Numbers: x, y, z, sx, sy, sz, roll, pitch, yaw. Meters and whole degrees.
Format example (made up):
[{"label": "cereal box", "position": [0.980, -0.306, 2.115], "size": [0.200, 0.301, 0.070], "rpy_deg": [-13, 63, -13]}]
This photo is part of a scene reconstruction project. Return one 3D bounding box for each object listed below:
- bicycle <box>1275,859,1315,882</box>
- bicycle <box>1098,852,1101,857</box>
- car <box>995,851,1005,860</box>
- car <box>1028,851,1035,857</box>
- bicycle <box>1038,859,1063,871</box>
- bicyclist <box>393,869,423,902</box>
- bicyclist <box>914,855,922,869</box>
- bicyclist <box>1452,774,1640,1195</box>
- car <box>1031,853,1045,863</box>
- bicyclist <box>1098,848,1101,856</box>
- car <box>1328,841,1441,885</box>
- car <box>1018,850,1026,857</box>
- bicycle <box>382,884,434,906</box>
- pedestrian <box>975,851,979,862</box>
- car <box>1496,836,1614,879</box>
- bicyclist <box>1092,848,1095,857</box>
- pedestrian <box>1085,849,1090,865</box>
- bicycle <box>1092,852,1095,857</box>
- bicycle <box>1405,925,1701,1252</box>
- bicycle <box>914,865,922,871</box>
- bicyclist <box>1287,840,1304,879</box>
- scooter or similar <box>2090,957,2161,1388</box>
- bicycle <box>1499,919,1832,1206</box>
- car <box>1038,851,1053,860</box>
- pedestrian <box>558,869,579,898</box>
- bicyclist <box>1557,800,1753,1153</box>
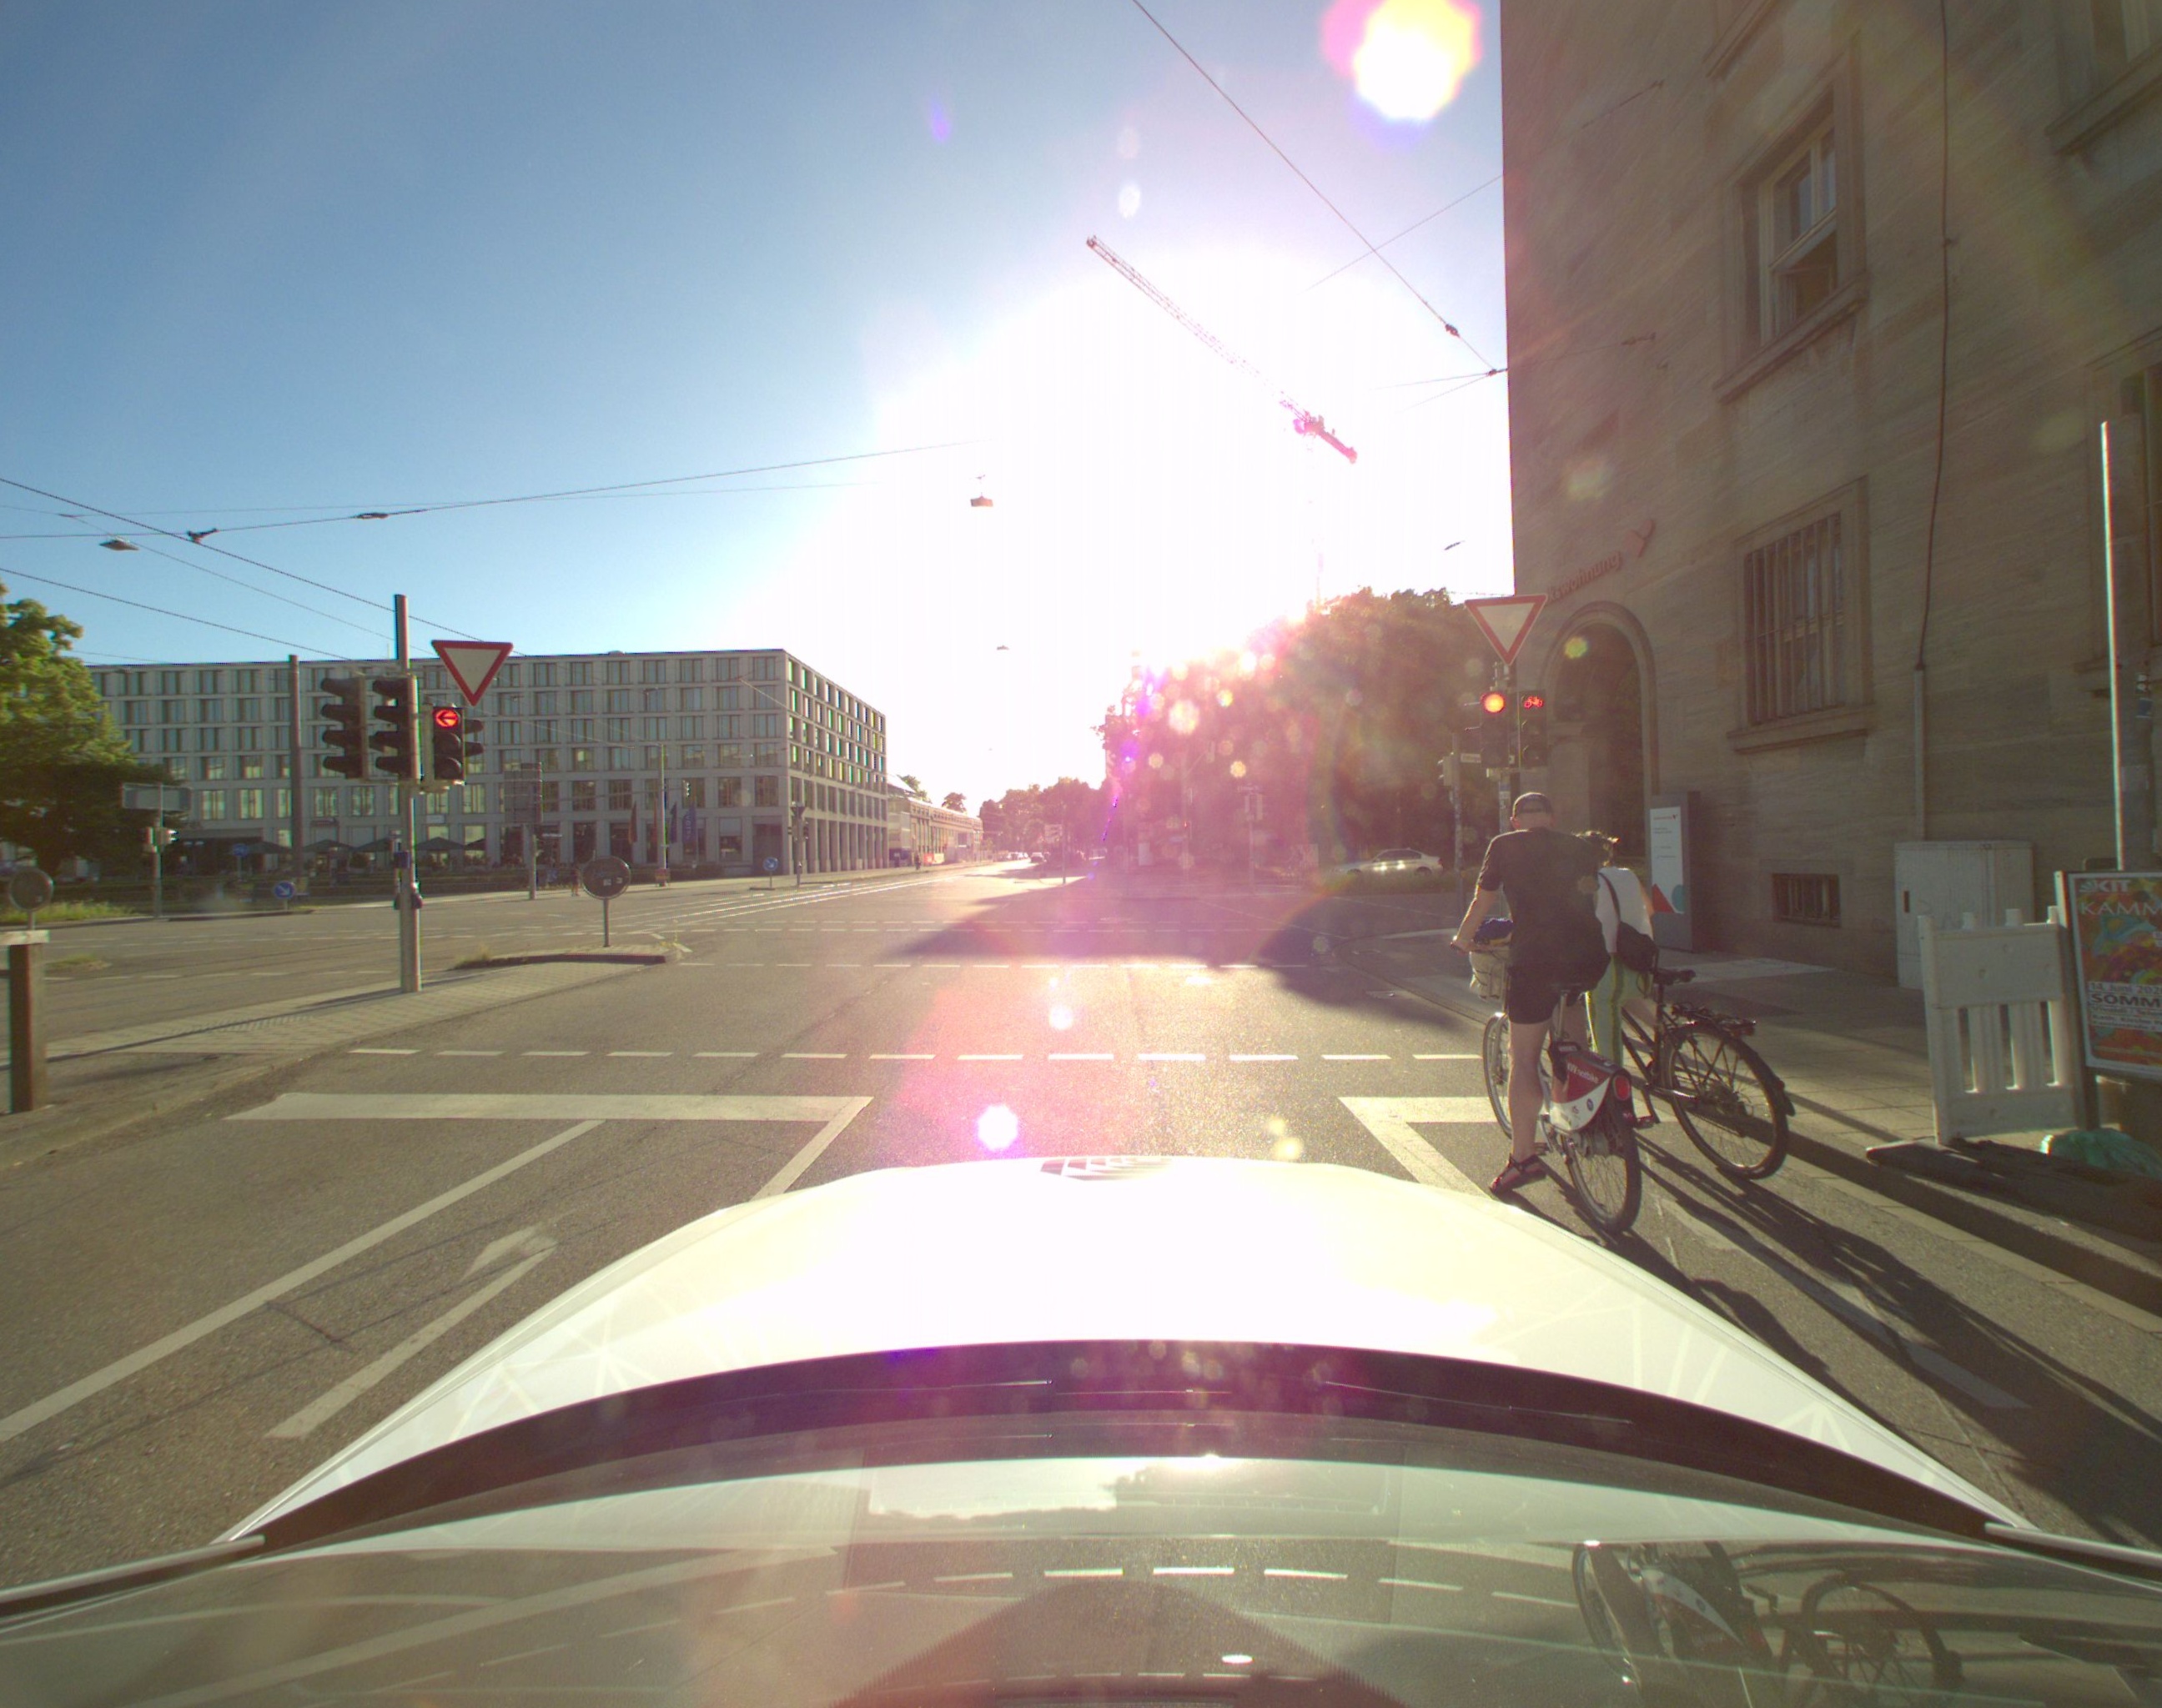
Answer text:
[{"label": "bicycle", "position": [9.514, 0.749, 36.218], "size": [1.657, 0.963, 0.535], "rpy_deg": [-2, 0, 7]}, {"label": "bicycle", "position": [3.792, 0.090, 163.323], "size": [0.573, 1.077, 1.831], "rpy_deg": [-2, 0, 1]}, {"label": "car", "position": [-15.652, 0.271, 157.067], "size": [1.688, 1.718, 4.245], "rpy_deg": [0, -1, -1]}, {"label": "car", "position": [-13.050, -0.009, 215.945], "size": [1.688, 1.718, 4.245], "rpy_deg": [0, -1, -1]}, {"label": "bicycle", "position": [-2.567, 0.908, 67.697], "size": [1.996, 0.891, 0.655], "rpy_deg": [-4, -1, 29]}, {"label": "bicyclist", "position": [-32.597, 1.520, 39.444], "size": [0.754, 1.589, 0.780], "rpy_deg": [-2, 0, 13]}, {"label": "bicyclist", "position": [-15.830, 0.770, 78.958], "size": [0.594, 1.377, 0.637], "rpy_deg": [0, -1, 0]}, {"label": "bicyclist", "position": [2.119, 0.560, 3.772], "size": [0.556, 1.799, 0.551], "rpy_deg": [-1, 0, 3]}, {"label": "car", "position": [-6.196, 0.535, 118.275], "size": [1.654, 1.455, 4.433], "rpy_deg": [-1, 0, 1]}, {"label": "bicyclist", "position": [3.774, -0.356, 163.316], "size": [0.567, 1.691, 0.700], "rpy_deg": [-2, 0, 1]}, {"label": "car", "position": [12.346, 0.352, 33.247], "size": [3.979, 1.611, 1.650], "rpy_deg": [-2, 0, 1]}, {"label": "car", "position": [-14.218, -0.110, 195.317], "size": [1.688, 1.718, 4.245], "rpy_deg": [0, -1, -1]}, {"label": "bicycle", "position": [-32.576, 1.990, 39.445], "size": [0.755, 0.935, 1.869], "rpy_deg": [-2, 0, 11]}, {"label": "pedestrian", "position": [-18.648, 0.402, 146.061], "size": [0.672, 2.014, 0.751], "rpy_deg": [0, -1, -1]}, {"label": "car", "position": [19.219, 0.142, 33.125], "size": [3.835, 1.611, 1.650], "rpy_deg": [-2, 0, 1]}, {"label": "bicyclist", "position": [2.453, -0.298, 162.867], "size": [0.567, 1.691, 0.700], "rpy_deg": [-2, 0, 1]}, {"label": "pedestrian", "position": [0.755, 0.365, 97.895], "size": [0.462, 1.813, 0.502], "rpy_deg": [-2, 0, -3]}, {"label": "bicycle", "position": [2.467, 0.099, 162.978], "size": [0.573, 1.077, 1.831], "rpy_deg": [-2, 0, 1]}, {"label": "bicycle", "position": [2.117, 0.956, 3.929], "size": [0.513, 1.077, 1.729], "rpy_deg": [-1, 0, 4]}, {"label": "bicycle", "position": [-15.844, 1.354, 78.950], "size": [0.499, 0.515, 1.258], "rpy_deg": [0, -1, 1]}, {"label": "bicyclist", "position": [9.537, 0.247, 36.223], "size": [0.640, 1.683, 0.508], "rpy_deg": [-2, 0, 7]}, {"label": "scooter or similar", "position": [3.270, 0.897, 1.752], "size": [0.533, 1.185, 1.328], "rpy_deg": [-2, 0, 1]}, {"label": "bicycle", "position": [2.939, 0.957, 4.345], "size": [0.532, 1.077, 1.751], "rpy_deg": [-1, 0, 1]}, {"label": "car", "position": [-6.204, 0.281, 141.156], "size": [1.882, 1.565, 4.815], "rpy_deg": [1, 0, 6]}, {"label": "pedestrian", "position": [-28.646, 1.642, 45.535], "size": [0.772, 1.589, 0.591], "rpy_deg": [-2, 0, 1]}, {"label": "bicyclist", "position": [2.950, 0.590, 4.239], "size": [0.556, 1.691, 0.640], "rpy_deg": [-1, 0, 0]}]
